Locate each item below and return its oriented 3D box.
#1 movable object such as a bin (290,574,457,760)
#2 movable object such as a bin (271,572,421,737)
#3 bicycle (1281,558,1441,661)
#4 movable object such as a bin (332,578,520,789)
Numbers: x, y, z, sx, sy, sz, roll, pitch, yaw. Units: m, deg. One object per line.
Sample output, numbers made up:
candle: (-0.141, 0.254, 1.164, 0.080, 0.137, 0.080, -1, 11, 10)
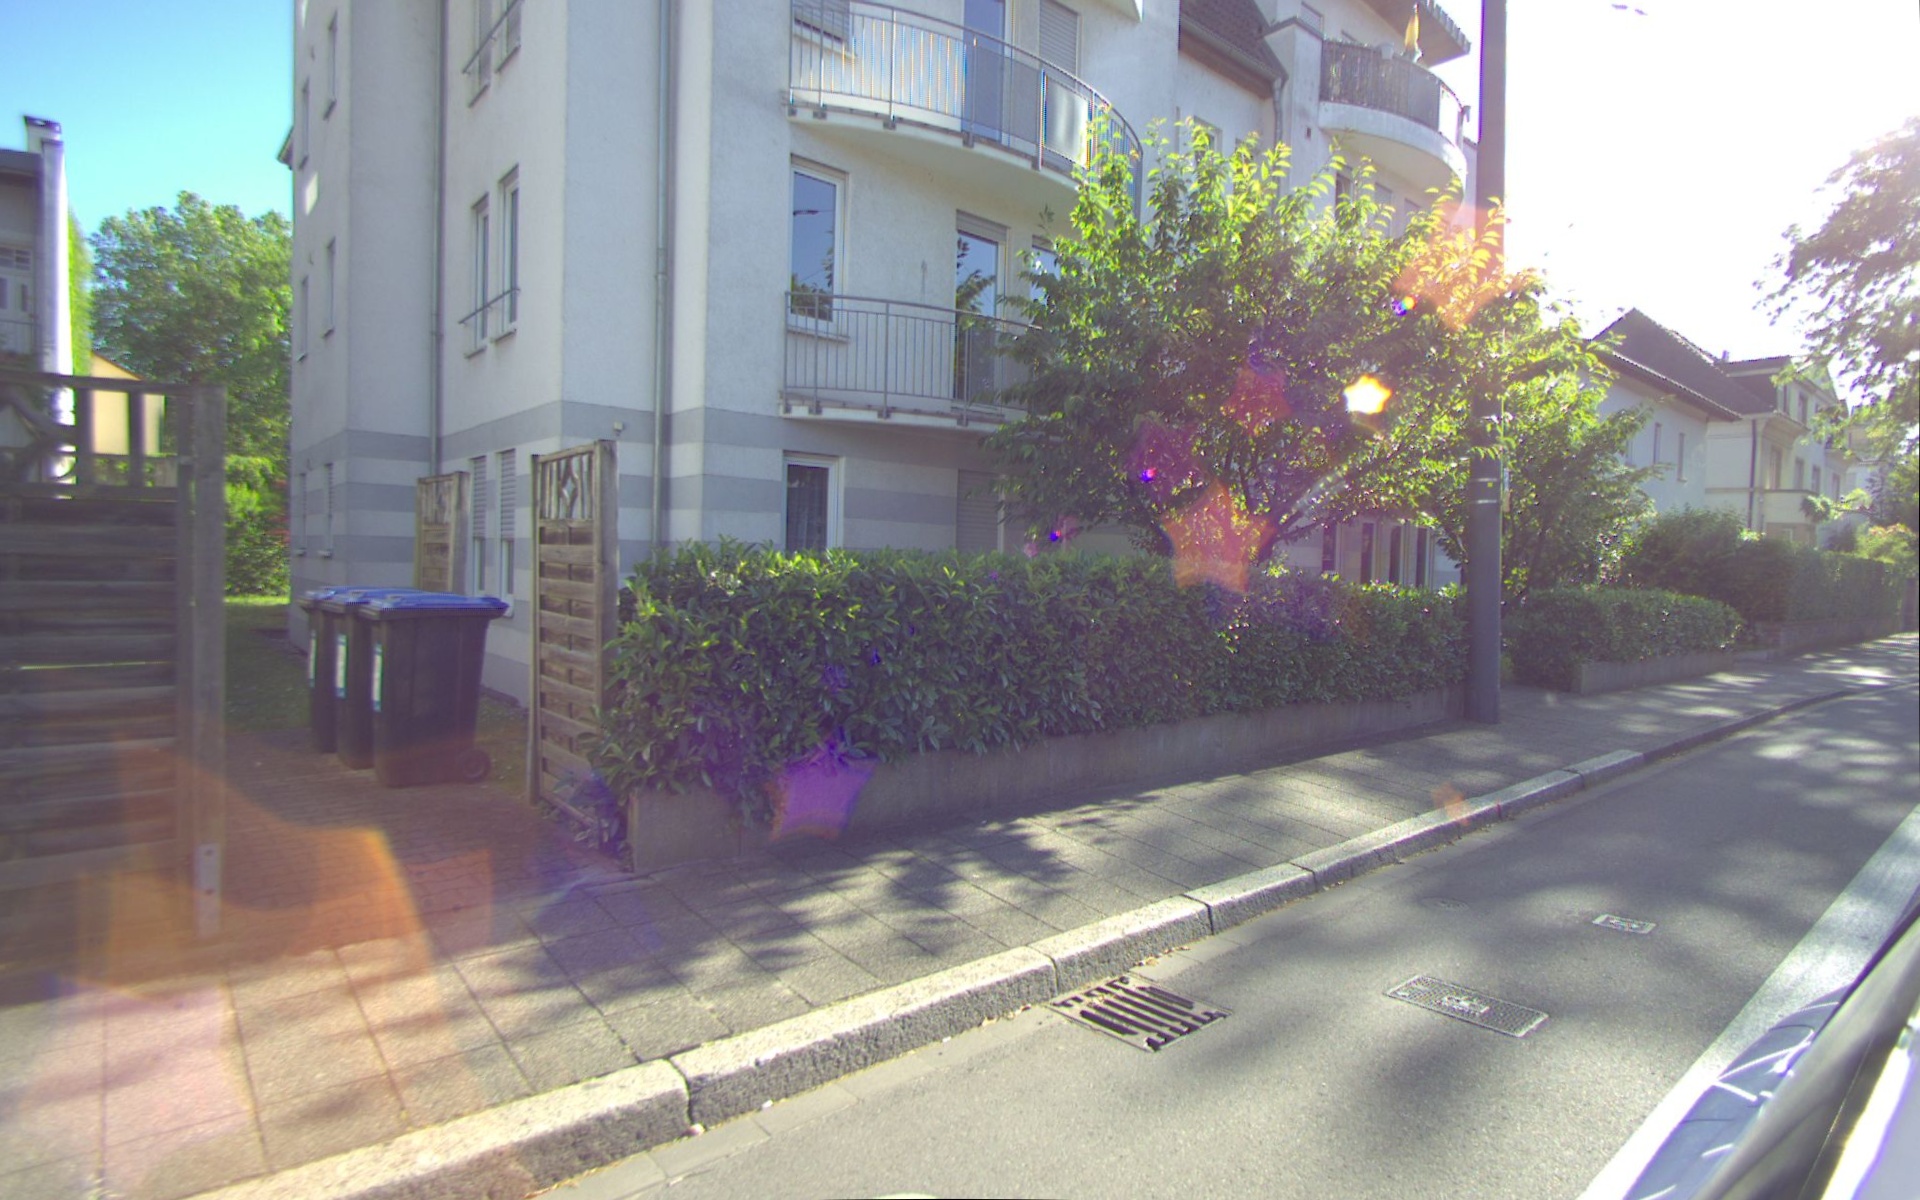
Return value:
movable object such as a bin: (-3.883, 0.386, 6.690, 0.799, 1.097, 0.973, -1, 2, -40)
movable object such as a bin: (-4.521, 0.351, 7.443, 0.799, 1.097, 0.973, -1, 2, -40)
bicycle: (5.585, 0.095, 14.198, 0.811, 1.217, 1.846, -1, 6, -40)
movable object such as a bin: (-3.170, 0.431, 5.992, 0.799, 1.097, 0.973, -1, 2, -40)
